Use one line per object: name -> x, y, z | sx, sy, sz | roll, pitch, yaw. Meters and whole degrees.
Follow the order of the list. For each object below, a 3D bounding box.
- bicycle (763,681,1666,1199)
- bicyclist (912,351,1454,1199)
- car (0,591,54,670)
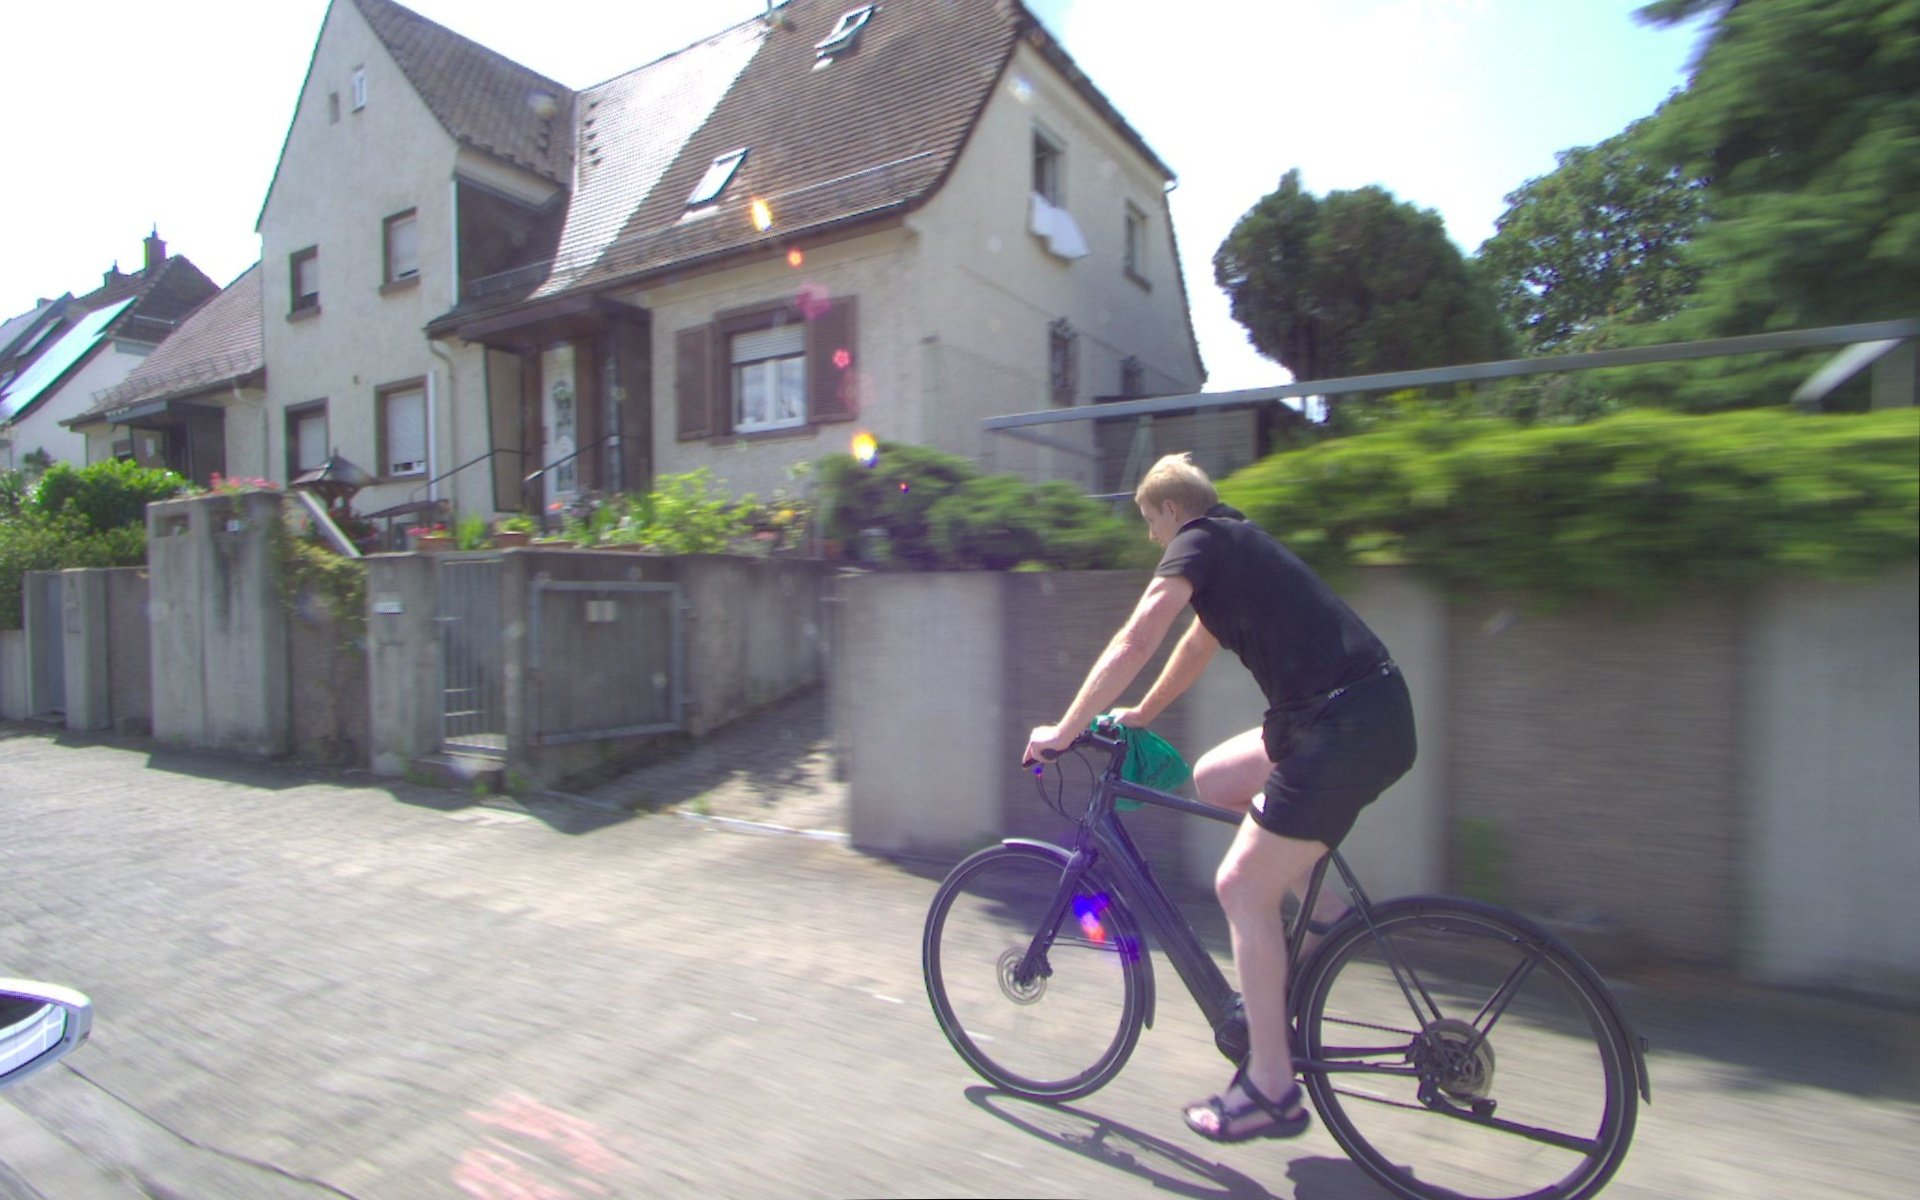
bicycle -> 0.521, 0.831, 2.488 | 1.942, 1.090, 0.826 | 1, 2, 32
bicyclist -> 0.559, 0.454, 2.447 | 1.068, 1.818, 0.826 | 1, 3, 32
car -> -22.522, 0.716, 21.567 | 1.969, 1.707, 3.982 | 0, 1, 28
